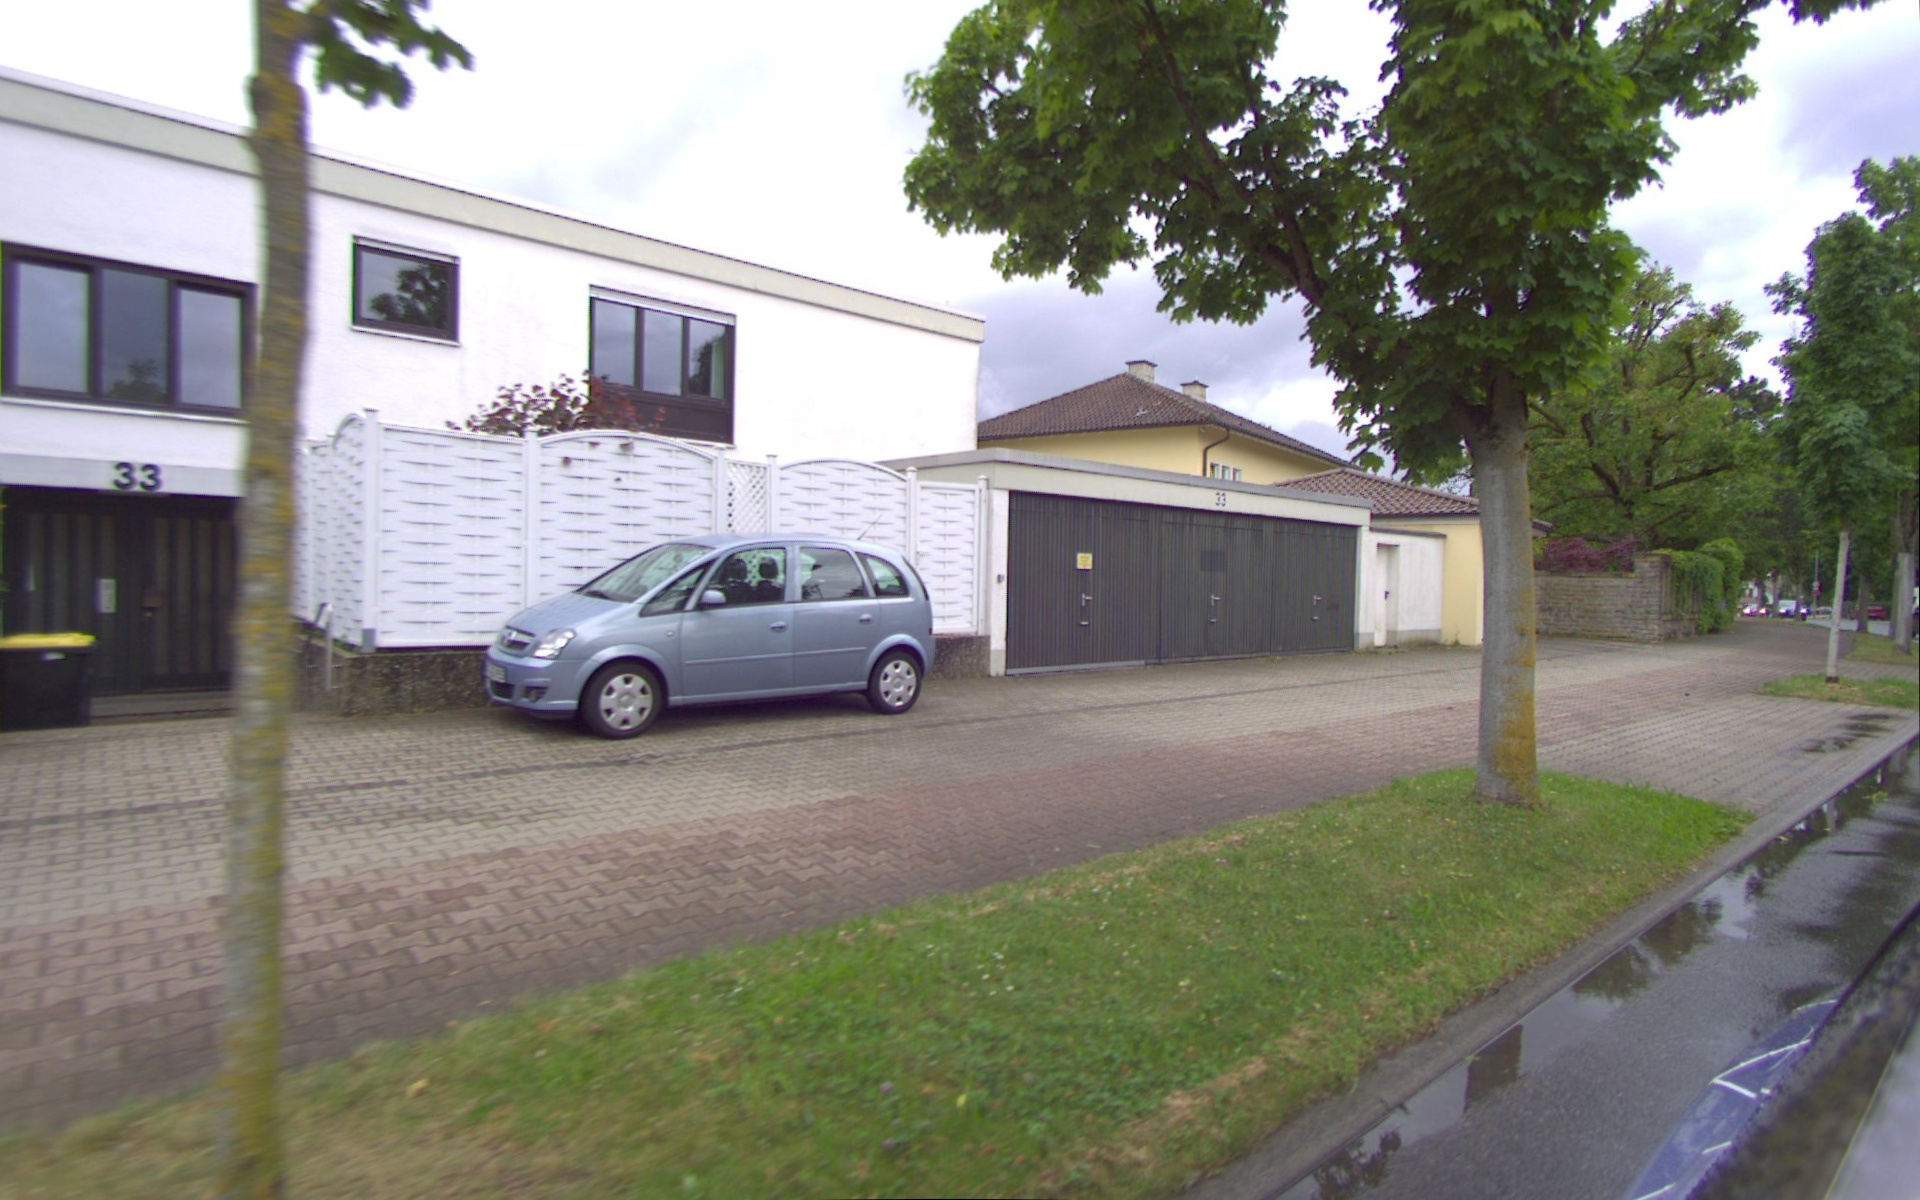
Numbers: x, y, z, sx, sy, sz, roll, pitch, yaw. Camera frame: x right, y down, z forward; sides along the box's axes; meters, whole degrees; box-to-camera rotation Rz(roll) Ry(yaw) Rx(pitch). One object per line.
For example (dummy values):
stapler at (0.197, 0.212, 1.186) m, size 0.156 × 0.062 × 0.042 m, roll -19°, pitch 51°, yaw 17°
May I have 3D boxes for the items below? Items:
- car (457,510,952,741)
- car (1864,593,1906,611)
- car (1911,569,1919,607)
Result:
car at (-2.154, 0.131, 9.066) m, size 3.929 × 1.630 × 1.748 m, roll 0°, pitch 3°, yaw -40°
car at (76.188, 0.164, 83.397) m, size 1.836 × 1.484 × 4.199 m, roll 1°, pitch 0°, yaw 33°
car at (66.334, -0.802, 68.464) m, size 1.986 × 2.593 × 5.170 m, roll 2°, pitch 1°, yaw 33°
